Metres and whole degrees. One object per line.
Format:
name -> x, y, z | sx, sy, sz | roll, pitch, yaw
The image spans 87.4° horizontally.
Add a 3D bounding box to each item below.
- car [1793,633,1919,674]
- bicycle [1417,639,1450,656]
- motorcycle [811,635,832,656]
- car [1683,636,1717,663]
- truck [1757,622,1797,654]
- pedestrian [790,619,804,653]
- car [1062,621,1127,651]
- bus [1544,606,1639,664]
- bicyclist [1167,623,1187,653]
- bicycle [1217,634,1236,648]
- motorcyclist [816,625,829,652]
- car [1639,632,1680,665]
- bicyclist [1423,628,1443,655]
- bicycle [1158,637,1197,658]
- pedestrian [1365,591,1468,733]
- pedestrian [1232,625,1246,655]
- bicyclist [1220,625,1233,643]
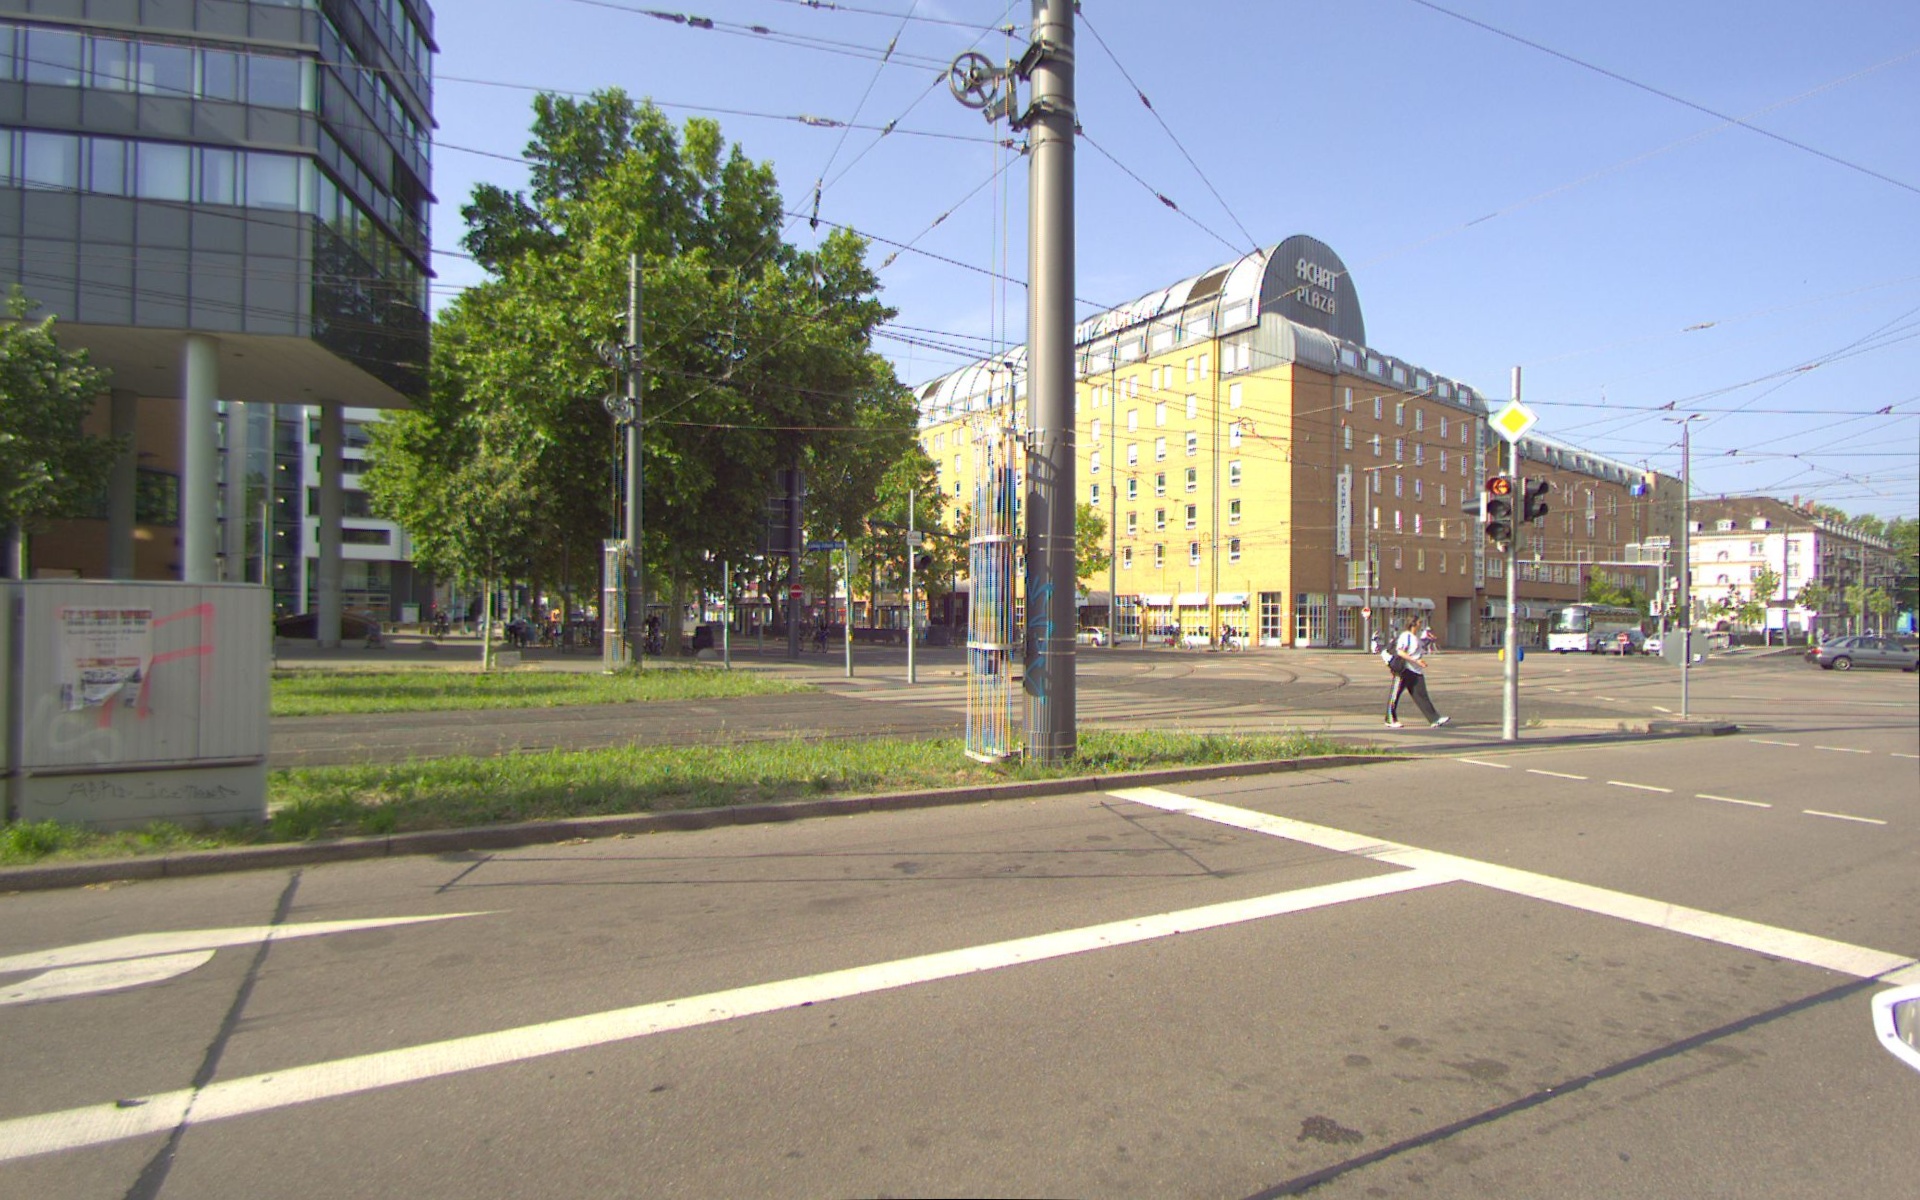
car -> 36.488, 2.164, 40.481 | 4.144, 1.506, 1.997 | 1, -2, 29
bicycle -> 30.805, 3.086, 65.376 | 0.417, 0.982, 1.941 | 3, -2, -43
motorcycle -> -6.996, 2.290, 50.664 | 0.281, 1.008, 1.678 | 3, -2, -35
car -> 51.738, 3.443, 70.229 | 2.585, 1.783, 1.200 | 3, -2, -37
truck -> 71.159, 3.300, 87.458 | 4.703, 2.632, 1.976 | 4, -2, -41
pedestrian -> -8.642, 1.901, 53.295 | 0.504, 1.748, 0.527 | 3, -2, -36
car -> 9.480, 2.517, 71.184 | 1.981, 2.040, 4.569 | 1, -1, -36
bus -> 47.078, 2.706, 74.635 | 12.126, 3.972, 2.722 | 4, -3, -42
bicyclist -> 13.119, 2.324, 60.801 | 0.949, 1.769, 0.666 | 2, -2, -7
bicycle -> 17.040, 2.614, 64.201 | 1.381, 0.883, 0.344 | 3, -2, -31
motorcyclist -> -6.947, 1.948, 50.623 | 0.414, 1.339, 0.527 | 3, -2, -36
car -> 45.958, 3.180, 65.973 | 2.708, 2.040, 1.588 | 3, -2, -40
bicyclist -> 30.791, 2.718, 65.408 | 0.666, 1.718, 0.977 | 3, -2, -43
bicycle -> 13.144, 2.881, 60.808 | 2.245, 1.222, 0.549 | 2, -2, -9
pedestrian -> 6.866, 0.918, 15.141 | 0.767, 2.040, 1.150 | 3, -2, -30
pedestrian -> 18.539, 2.667, 66.702 | 0.735, 1.979, 0.883 | 0, -1, 23
bicyclist -> 17.048, 2.154, 64.211 | 0.603, 1.144, 0.519 | 3, -2, -30
